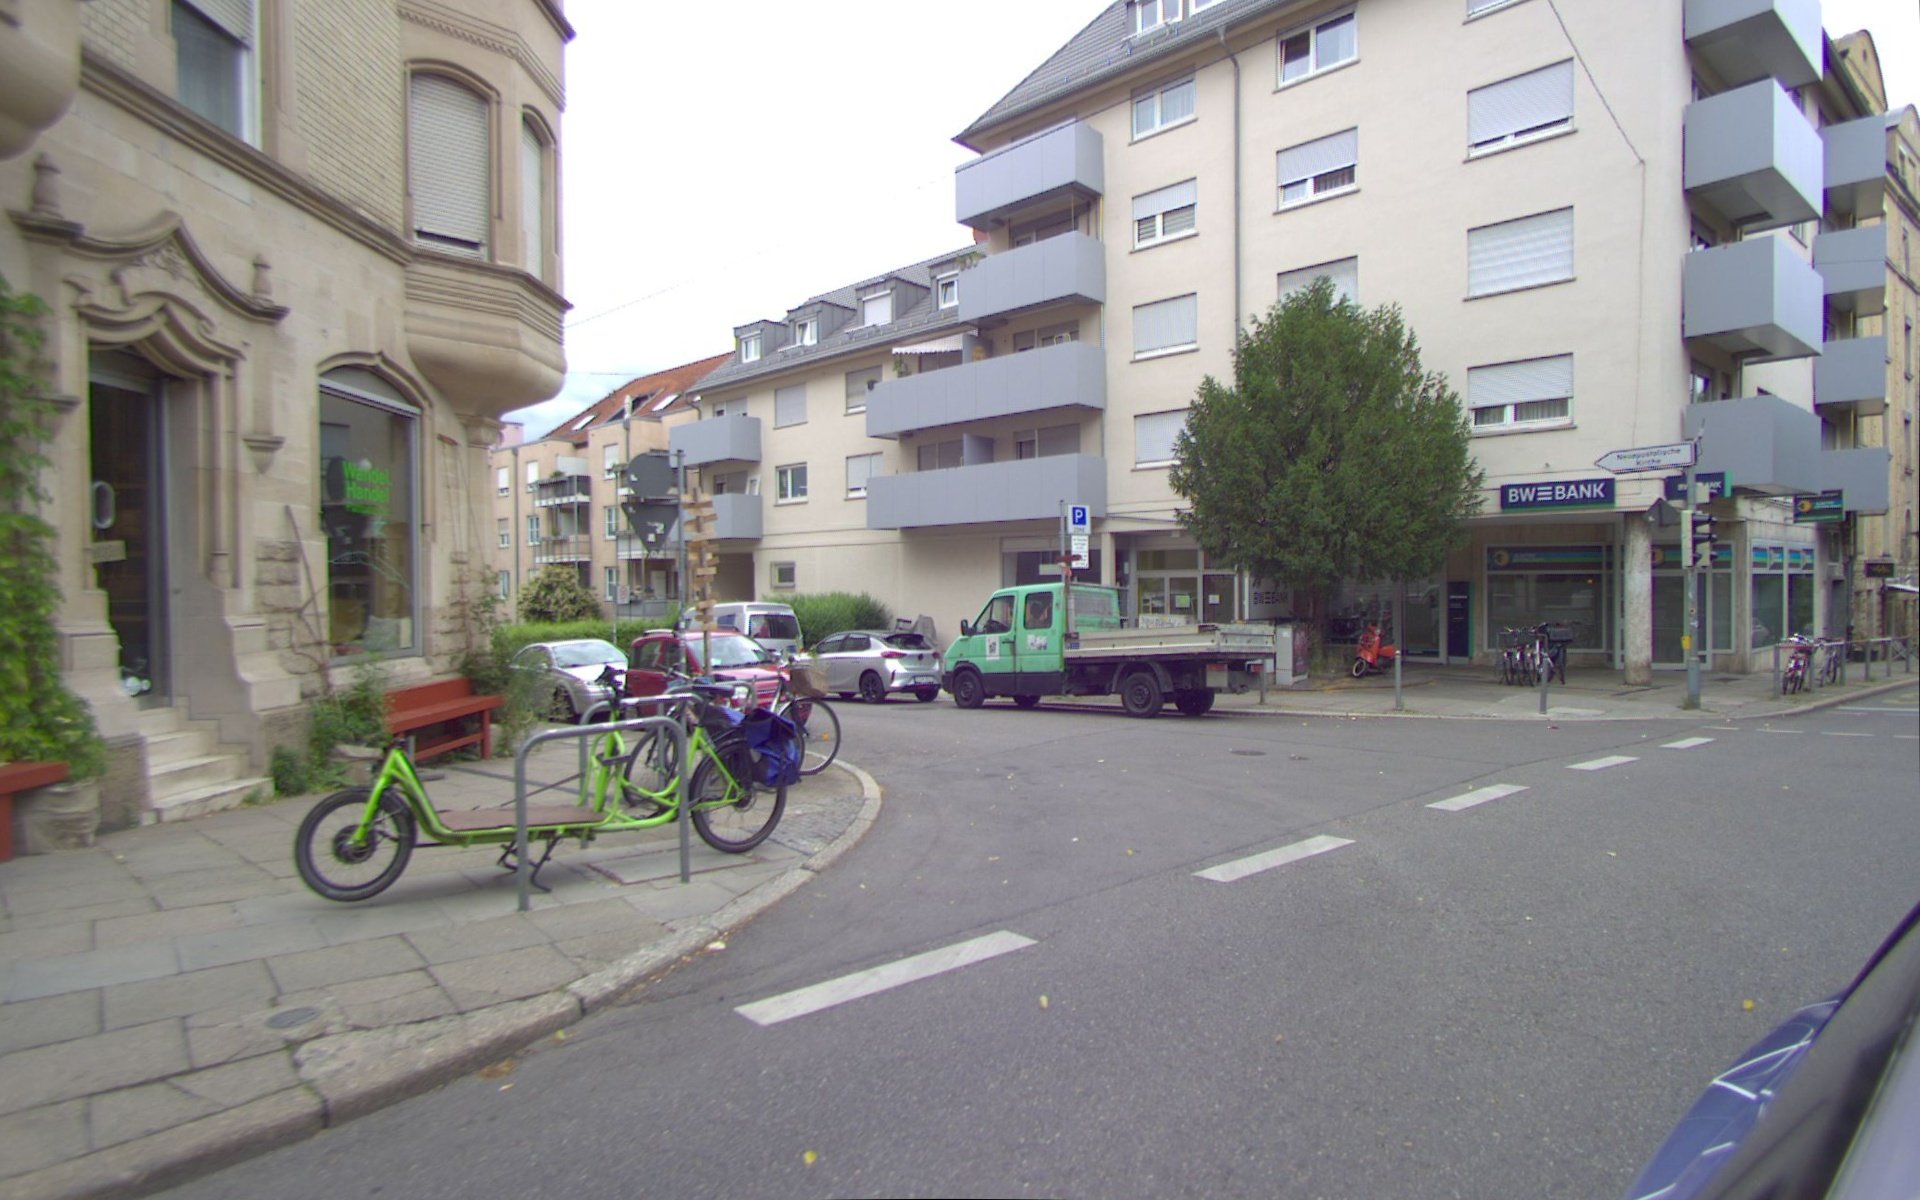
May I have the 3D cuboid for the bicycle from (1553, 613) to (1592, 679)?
[{"bbox_3d":[11.836,0.871,19.549,0.399,1.220,1.265,-2,-2,42],"label":"bicycle"}]

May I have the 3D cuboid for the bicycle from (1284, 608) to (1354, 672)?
[{"bbox_3d":[7.438,0.813,20.948,1.849,1.271,0.439,0,-1,-38],"label":"bicycle"}]

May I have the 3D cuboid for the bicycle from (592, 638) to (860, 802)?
[{"bbox_3d":[-1.836,0.897,8.190,2.022,1.164,0.682,2,-3,-41],"label":"bicycle"}]

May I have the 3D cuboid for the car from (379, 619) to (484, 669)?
[{"bbox_3d":[-19.979,1.615,38.159,4.672,1.722,2.113,-1,-1,43],"label":"car"}]

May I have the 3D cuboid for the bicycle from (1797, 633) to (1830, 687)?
[{"bbox_3d":[15.418,1.068,18.272,1.261,0.919,0.154,0,-1,-37],"label":"bicycle"}]

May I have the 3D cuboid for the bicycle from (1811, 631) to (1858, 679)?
[{"bbox_3d":[17.475,1.084,20.213,1.261,0.919,0.442,0,-1,-36],"label":"bicycle"}]

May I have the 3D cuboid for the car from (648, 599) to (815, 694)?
[{"bbox_3d":[-5.636,1.145,24.610,1.956,2.096,4.390,1,-3,-44],"label":"car"}]

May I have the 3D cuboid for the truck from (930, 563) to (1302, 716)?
[{"bbox_3d":[2.441,0.688,17.099,5.837,2.134,2.514,-2,-4,43],"label":"truck"}]

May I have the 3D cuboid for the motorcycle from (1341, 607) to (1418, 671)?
[{"bbox_3d":[8.491,0.764,20.448,1.896,1.211,0.591,0,2,-40],"label":"motorcycle"}]

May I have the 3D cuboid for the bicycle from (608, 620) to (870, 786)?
[{"bbox_3d":[-1.890,0.842,9.002,2.343,1.293,0.459,0,-1,-40],"label":"bicycle"}]

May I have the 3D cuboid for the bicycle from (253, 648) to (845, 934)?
[{"bbox_3d":[-2.027,0.866,5.492,2.888,1.164,0.683,2,-1,-41],"label":"bicycle"}]

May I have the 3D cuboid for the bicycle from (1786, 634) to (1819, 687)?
[{"bbox_3d":[15.332,1.096,18.411,1.261,0.919,0.154,0,-1,-37],"label":"bicycle"}]

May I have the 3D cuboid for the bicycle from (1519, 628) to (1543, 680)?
[{"bbox_3d":[10.871,1.019,19.266,0.141,0.918,1.231,0,1,42],"label":"bicycle"}]

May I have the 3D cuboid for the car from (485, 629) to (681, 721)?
[{"bbox_3d":[-6.987,1.308,18.550,3.987,1.398,1.836,-3,0,45],"label":"car"}]

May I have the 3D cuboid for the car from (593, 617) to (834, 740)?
[{"bbox_3d":[-3.837,1.119,15.359,3.997,1.513,1.642,-3,1,45],"label":"car"}]

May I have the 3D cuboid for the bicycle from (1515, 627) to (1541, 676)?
[{"bbox_3d":[11.256,1.013,20.058,0.184,0.919,1.218,-1,-1,42],"label":"bicycle"}]

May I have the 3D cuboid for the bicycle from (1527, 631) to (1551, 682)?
[{"bbox_3d":[10.953,1.052,19.133,0.120,0.919,1.265,-1,-1,42],"label":"bicycle"}]

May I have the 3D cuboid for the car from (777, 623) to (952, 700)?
[{"bbox_3d":[-2.033,1.203,20.884,3.785,1.394,1.538,-1,-1,44],"label":"car"}]
